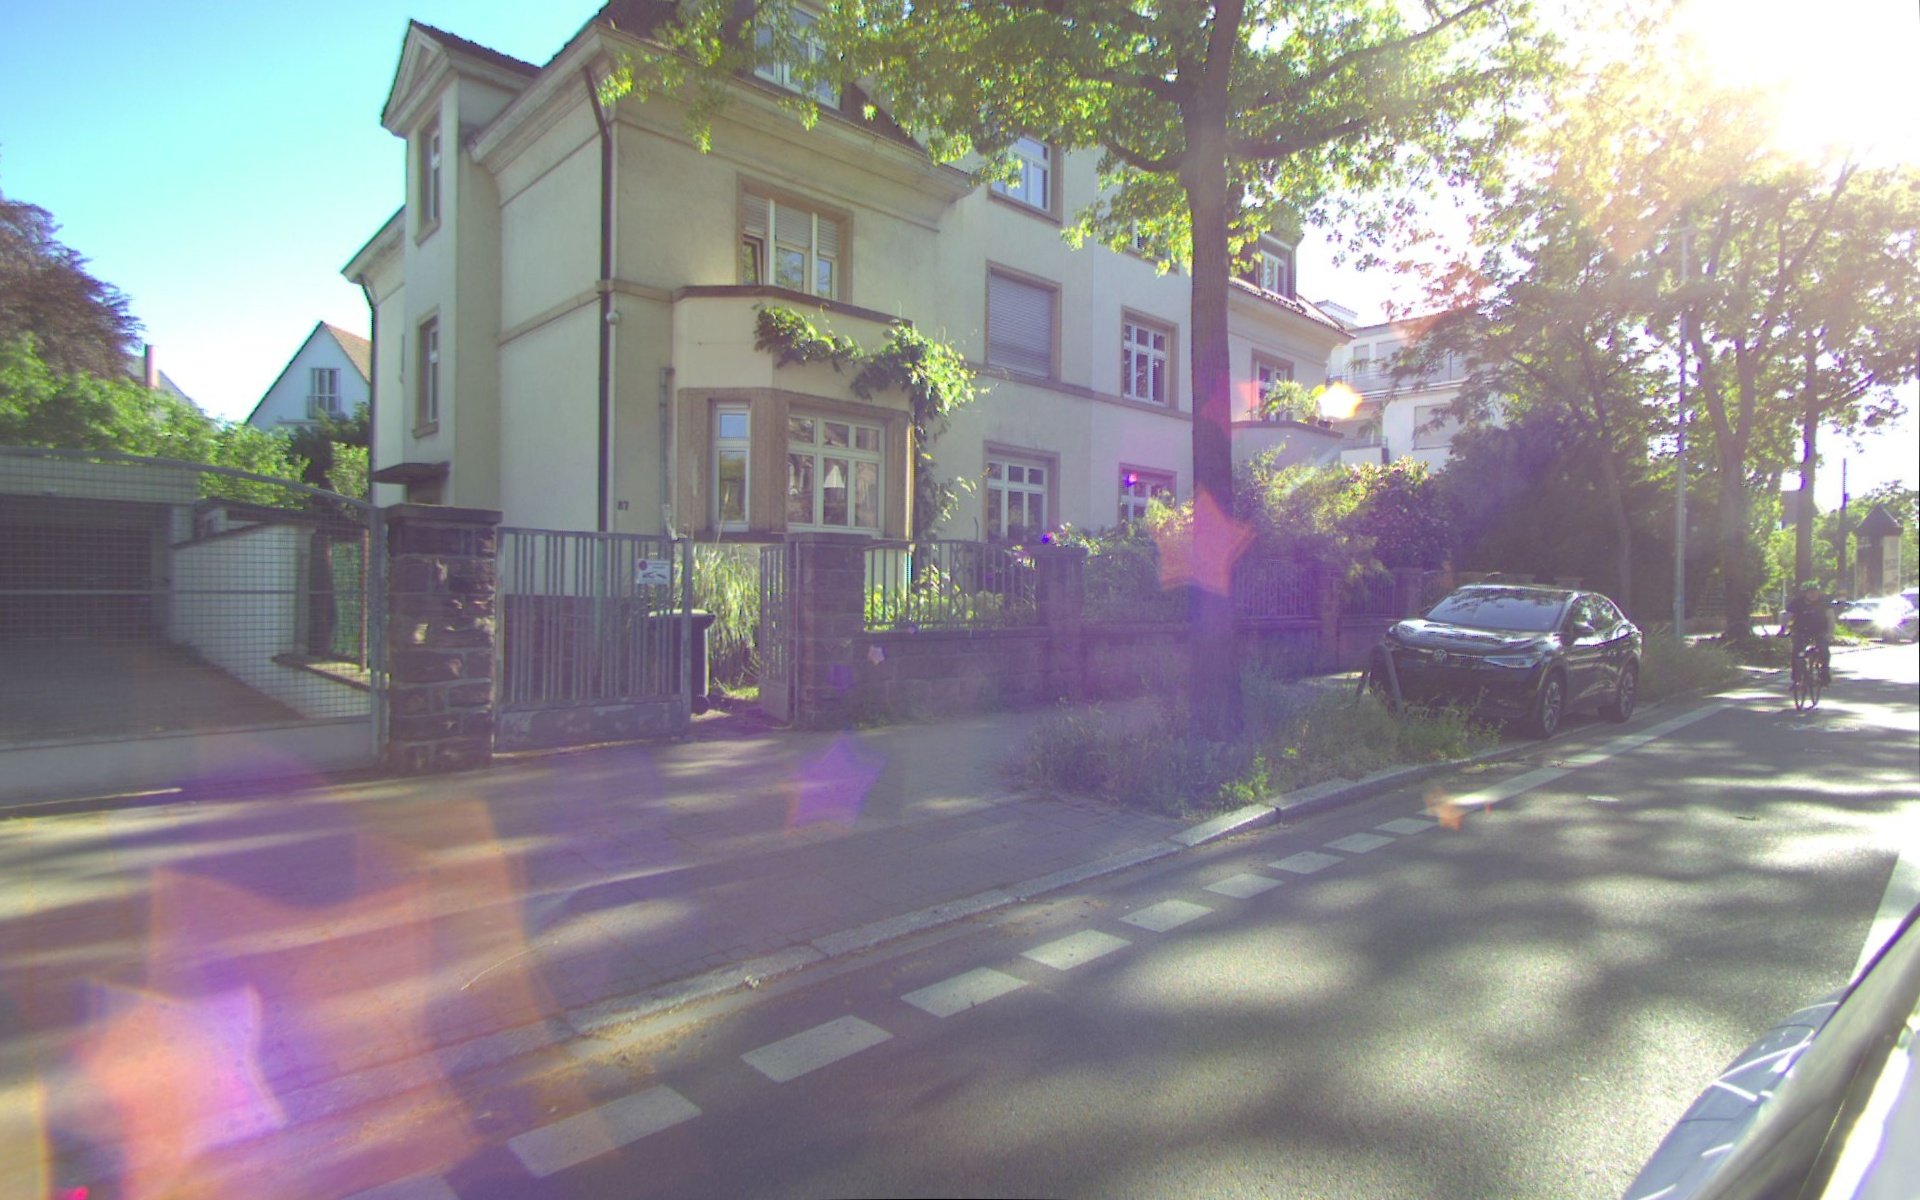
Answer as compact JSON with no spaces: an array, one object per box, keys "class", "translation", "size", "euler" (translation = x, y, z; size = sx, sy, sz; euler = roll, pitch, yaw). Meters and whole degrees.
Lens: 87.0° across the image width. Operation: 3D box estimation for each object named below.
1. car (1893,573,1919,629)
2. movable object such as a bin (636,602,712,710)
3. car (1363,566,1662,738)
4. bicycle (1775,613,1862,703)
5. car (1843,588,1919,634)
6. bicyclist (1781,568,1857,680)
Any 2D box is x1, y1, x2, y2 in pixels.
[{"class":"car","translation":[36.796,0.049,38.083],"size":[4.503,2.039,1.997],"euler":[0,1,-41]},{"class":"movable object such as a bin","translation":[-3.074,0.568,10.828],"size":[0.697,1.070,1.093],"euler":[0,0,-20]},{"class":"car","translation":[6.677,0.494,12.064],"size":[4.020,1.626,1.743],"euler":[0,4,-41]},{"class":"bicycle","translation":[12.024,0.771,14.149],"size":[1.868,1.158,0.644],"euler":[0,0,-41]},{"class":"car","translation":[31.560,0.337,34.422],"size":[3.930,1.469,1.785],"euler":[0,1,-41]},{"class":"bicyclist","translation":[12.028,0.313,14.160],"size":[1.095,1.506,0.645],"euler":[0,0,-41]}]
